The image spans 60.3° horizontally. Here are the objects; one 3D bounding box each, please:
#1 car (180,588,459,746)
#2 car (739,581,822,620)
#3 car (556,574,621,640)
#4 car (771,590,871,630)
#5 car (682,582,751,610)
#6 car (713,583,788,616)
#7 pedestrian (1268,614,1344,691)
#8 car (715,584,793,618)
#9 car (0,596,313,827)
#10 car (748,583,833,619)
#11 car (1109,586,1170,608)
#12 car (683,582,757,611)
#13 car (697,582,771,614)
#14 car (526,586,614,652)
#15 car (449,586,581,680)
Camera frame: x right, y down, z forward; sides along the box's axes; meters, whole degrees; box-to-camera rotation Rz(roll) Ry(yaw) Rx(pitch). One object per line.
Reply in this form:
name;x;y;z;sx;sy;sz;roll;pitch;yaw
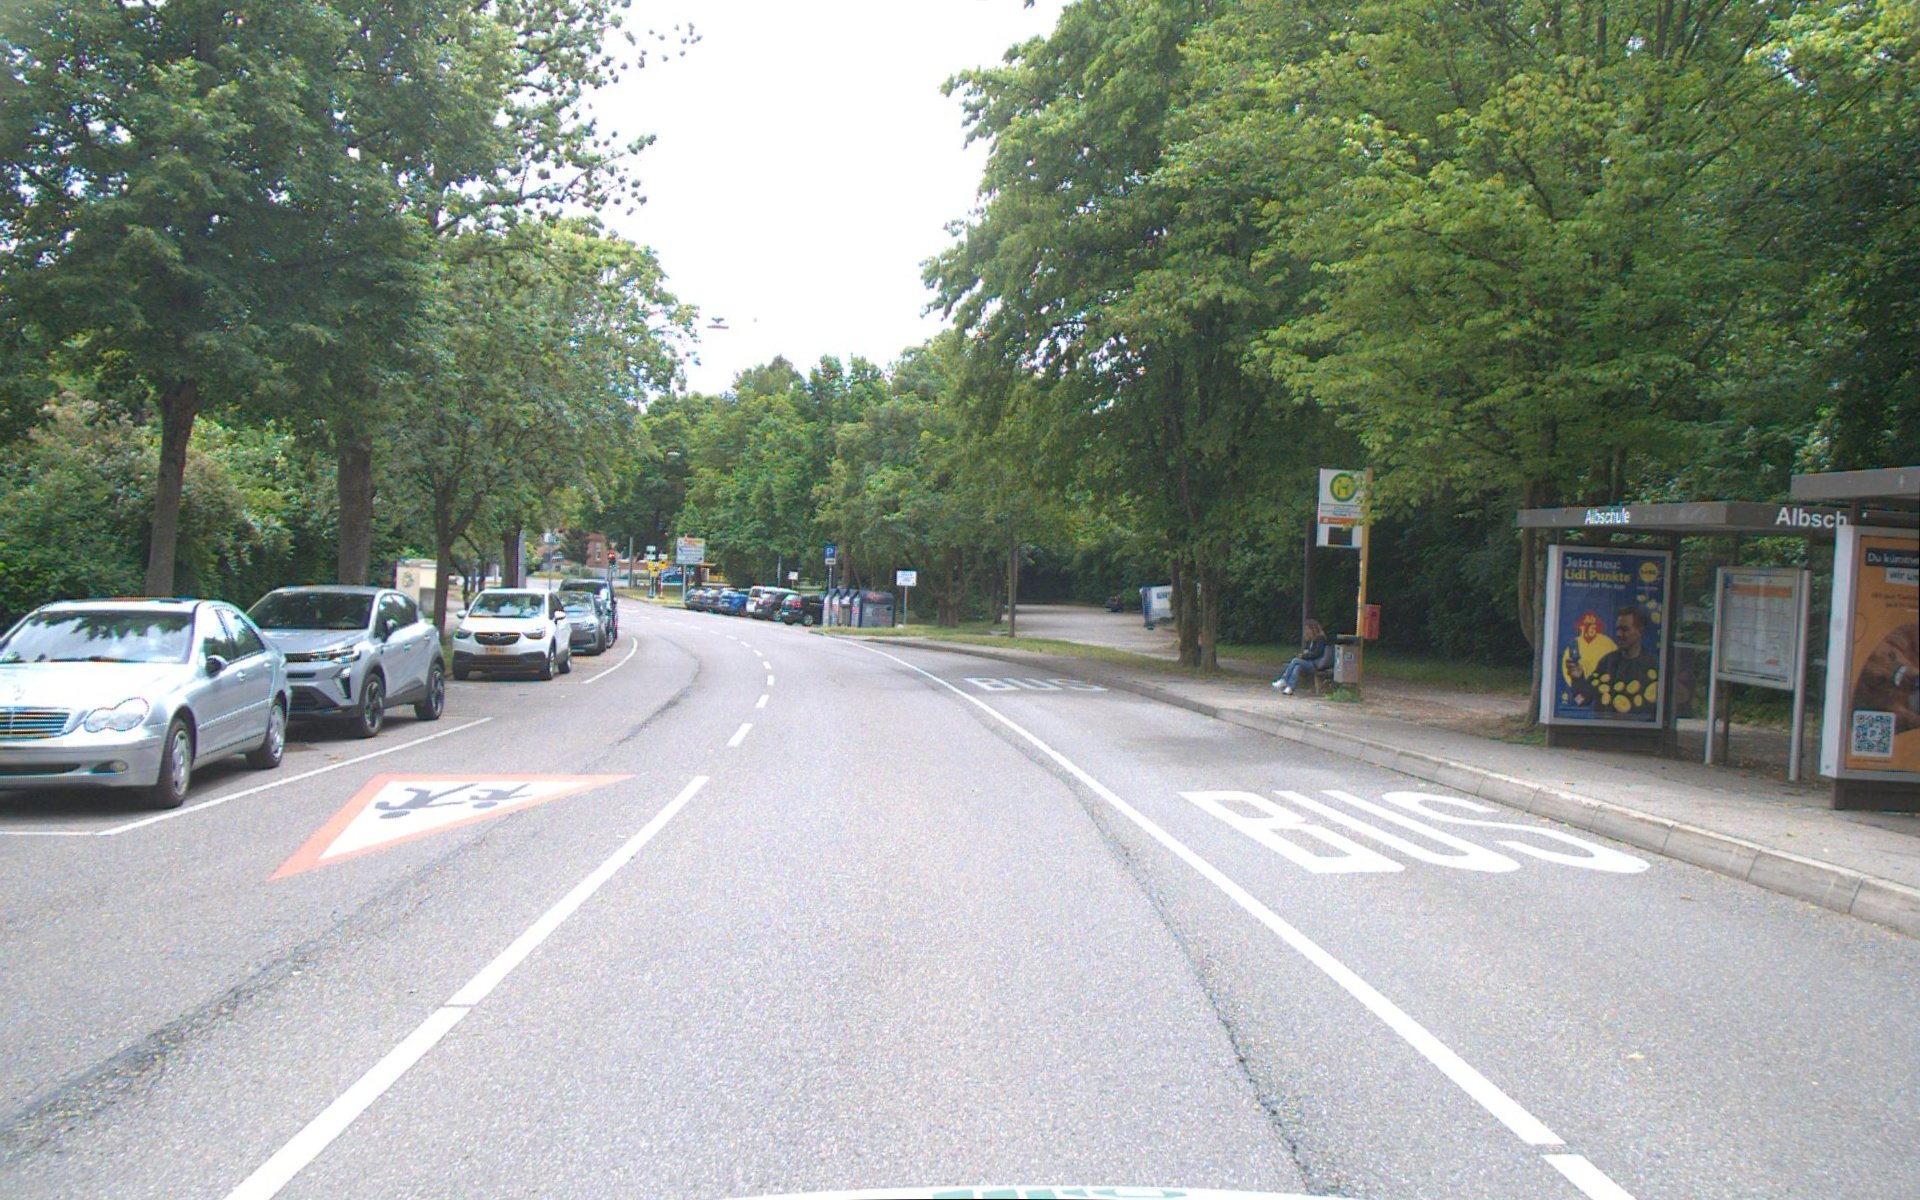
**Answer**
car;-7.001;0.652;18.545;1.701;1.565;4.186;0;0;-3
car;-9.246;0.040;85.325;3.790;1.750;1.854;5;-1;-37
car;-11.573;0.184;51.734;1.825;1.942;5.069;1;0;-11
car;-6.277;0.471;74.702;3.957;1.438;2.032;5;0;-37
car;-14.977;-0.230;101.921;3.790;1.450;1.724;5;-2;-37
car;-11.701;-0.027;92.535;3.790;1.555;1.724;5;-2;-37
pedestrian;5.578;0.844;26.667;1.044;1.203;0.579;1;0;-9
car;-11.143;0.063;89.699;3.790;1.555;1.724;5;-2;-37
car;-6.407;0.712;12.792;1.703;1.441;4.462;0;0;-9
car;-8.471;0.056;82.729;3.790;1.493;1.724;5;0;-37
car;12.741;-0.220;117.381;3.916;1.434;1.795;1;0;-12
car;-14.086;-0.208;97.204;3.844;1.451;1.806;5;-2;-37
car;-12.878;-0.110;94.257;3.790;1.555;1.724;5;-2;-37
car;-9.795;0.436;41.798;1.832;1.565;4.218;1;0;-9
car;-8.095;0.551;30.397;1.702;1.606;4.136;0;0;-6
